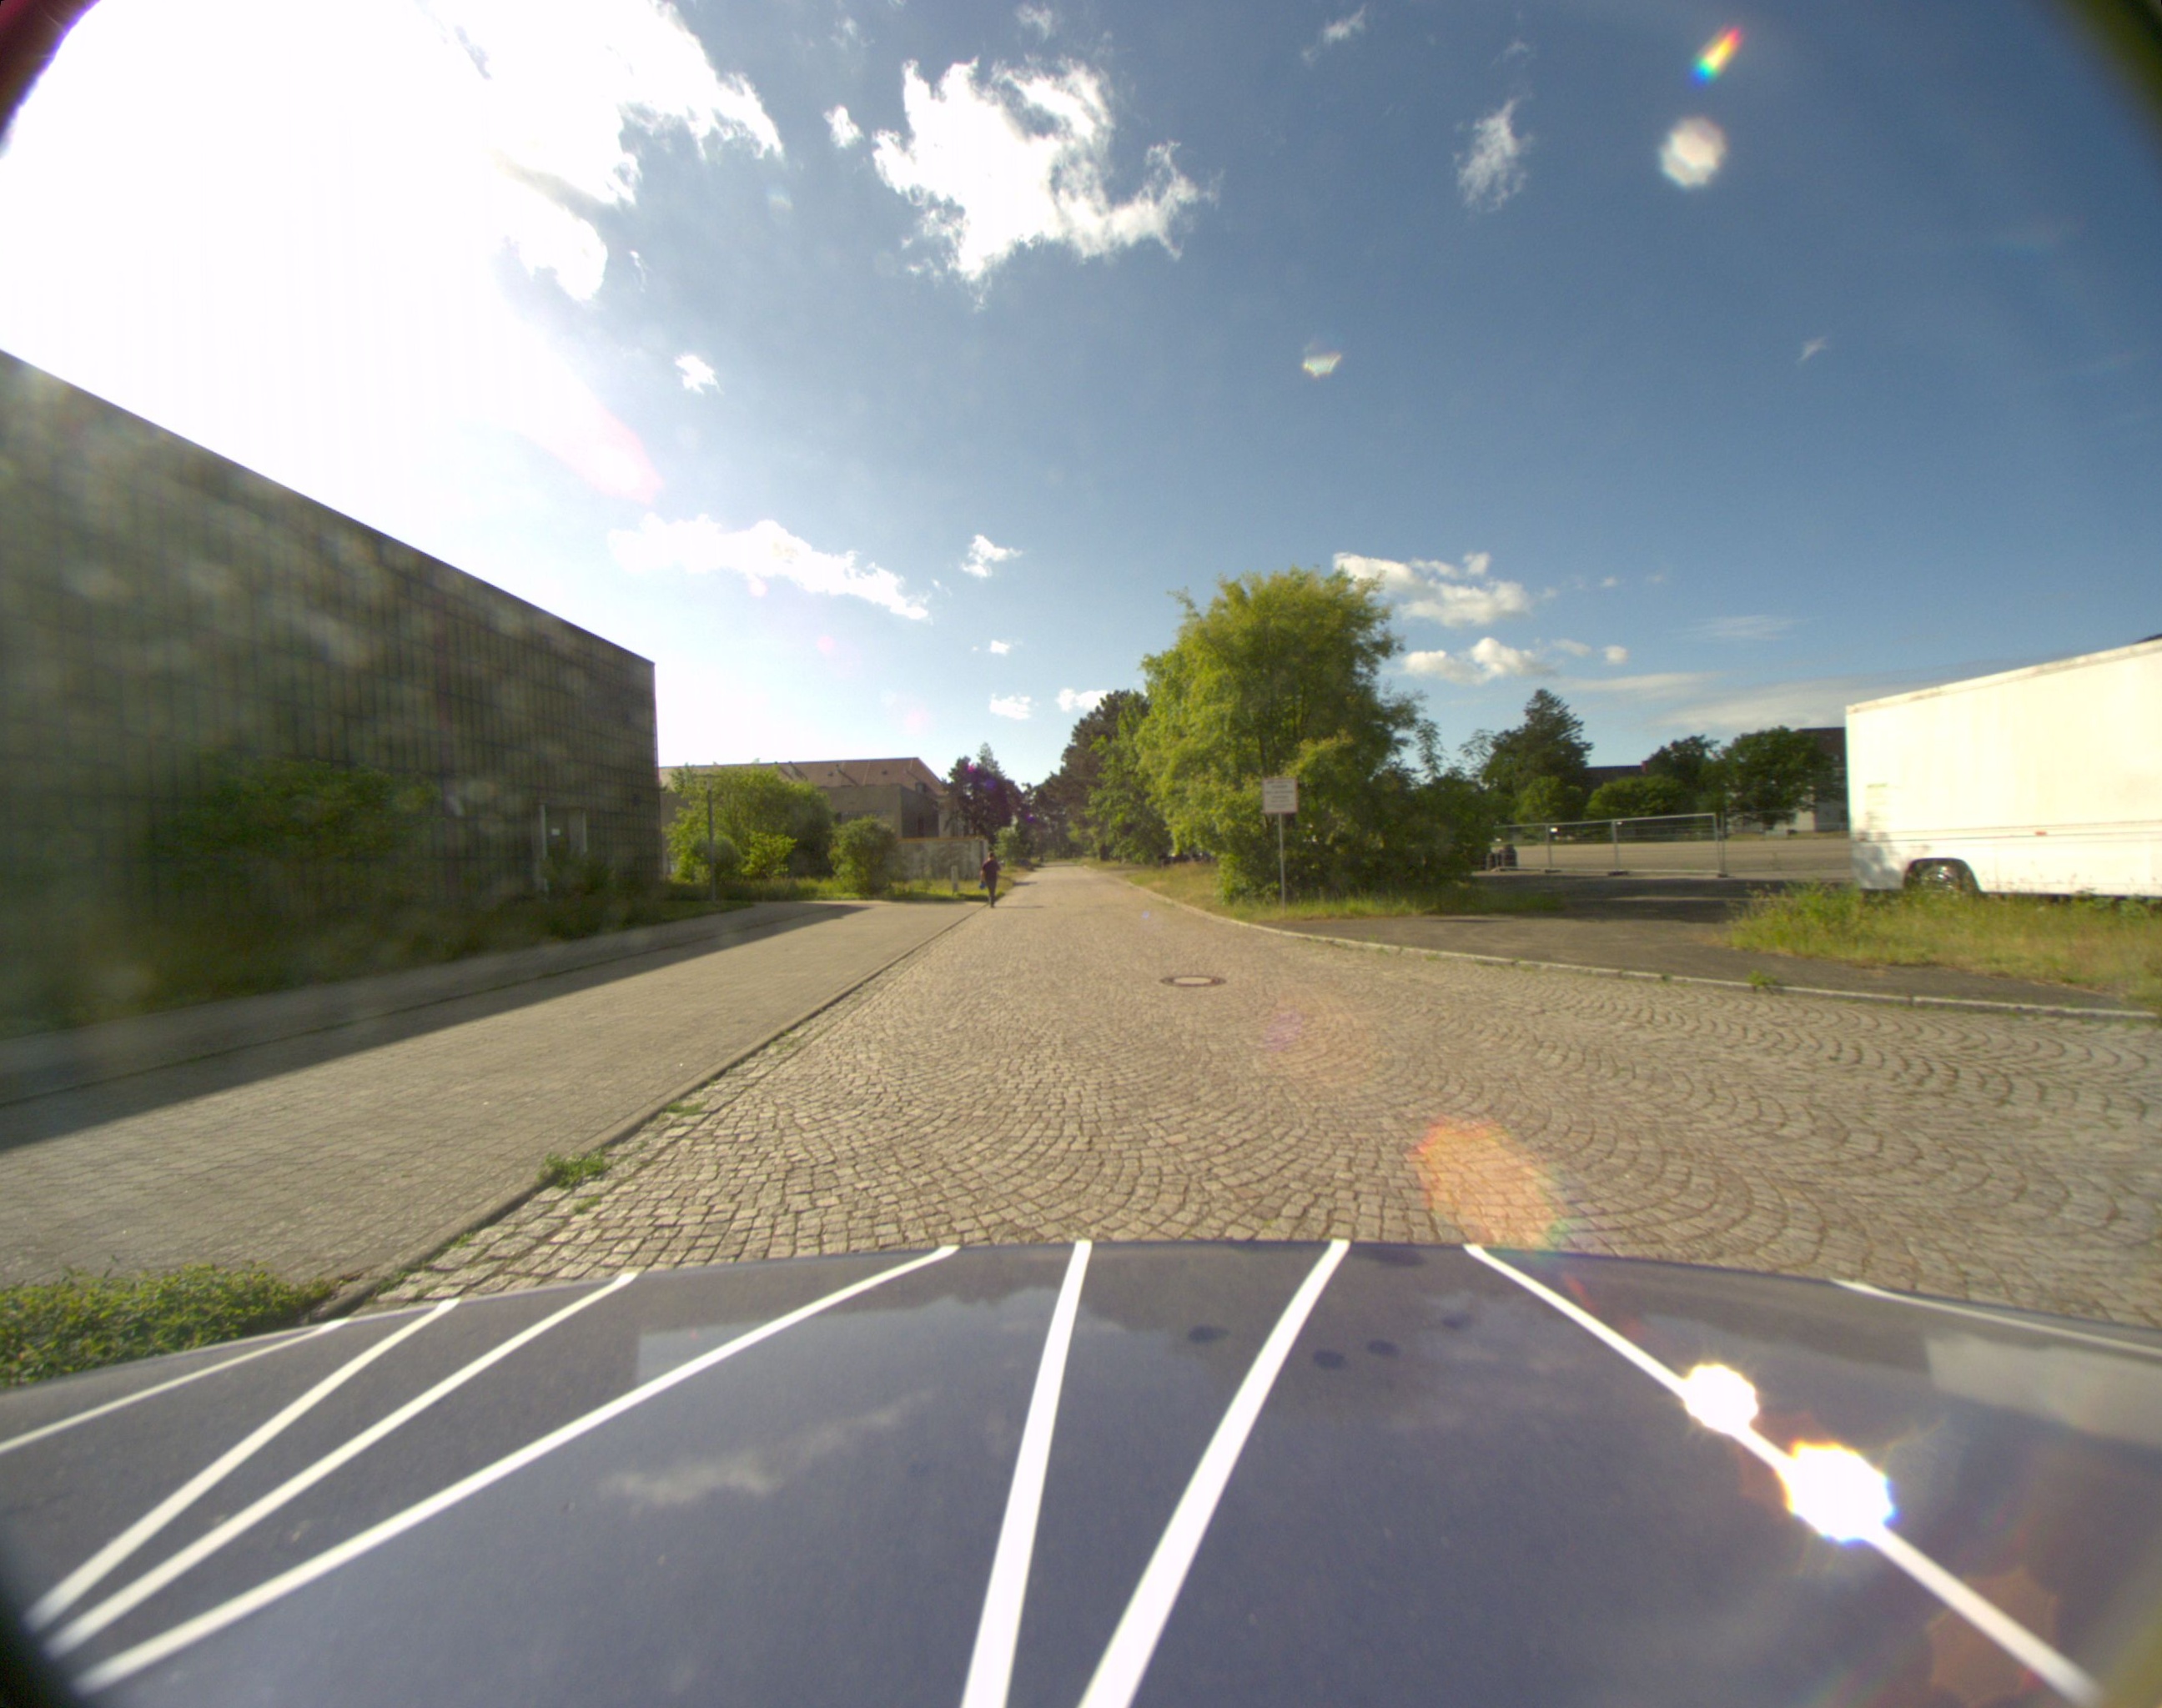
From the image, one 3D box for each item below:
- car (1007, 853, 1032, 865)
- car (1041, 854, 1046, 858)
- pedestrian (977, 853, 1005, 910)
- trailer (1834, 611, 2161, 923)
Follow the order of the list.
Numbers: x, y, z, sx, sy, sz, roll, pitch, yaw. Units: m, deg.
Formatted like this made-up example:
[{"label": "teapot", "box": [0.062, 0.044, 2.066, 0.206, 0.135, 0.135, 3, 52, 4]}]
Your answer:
[{"label": "car", "box": [-7.664, 0.617, 94.900, 2.912, 1.252, 1.286, -2, 1, -10]}, {"label": "car", "box": [-10.404, 0.459, 210.174, 1.373, 1.092, 2.862, -2, 0, -4]}, {"label": "pedestrian", "box": [-2.900, 0.866, 24.582, 0.797, 1.770, 1.068, -1, 1, -3]}, {"label": "trailer", "box": [14.912, -1.119, 8.227, 2.779, 3.888, 10.885, -2, 0, 1]}]
